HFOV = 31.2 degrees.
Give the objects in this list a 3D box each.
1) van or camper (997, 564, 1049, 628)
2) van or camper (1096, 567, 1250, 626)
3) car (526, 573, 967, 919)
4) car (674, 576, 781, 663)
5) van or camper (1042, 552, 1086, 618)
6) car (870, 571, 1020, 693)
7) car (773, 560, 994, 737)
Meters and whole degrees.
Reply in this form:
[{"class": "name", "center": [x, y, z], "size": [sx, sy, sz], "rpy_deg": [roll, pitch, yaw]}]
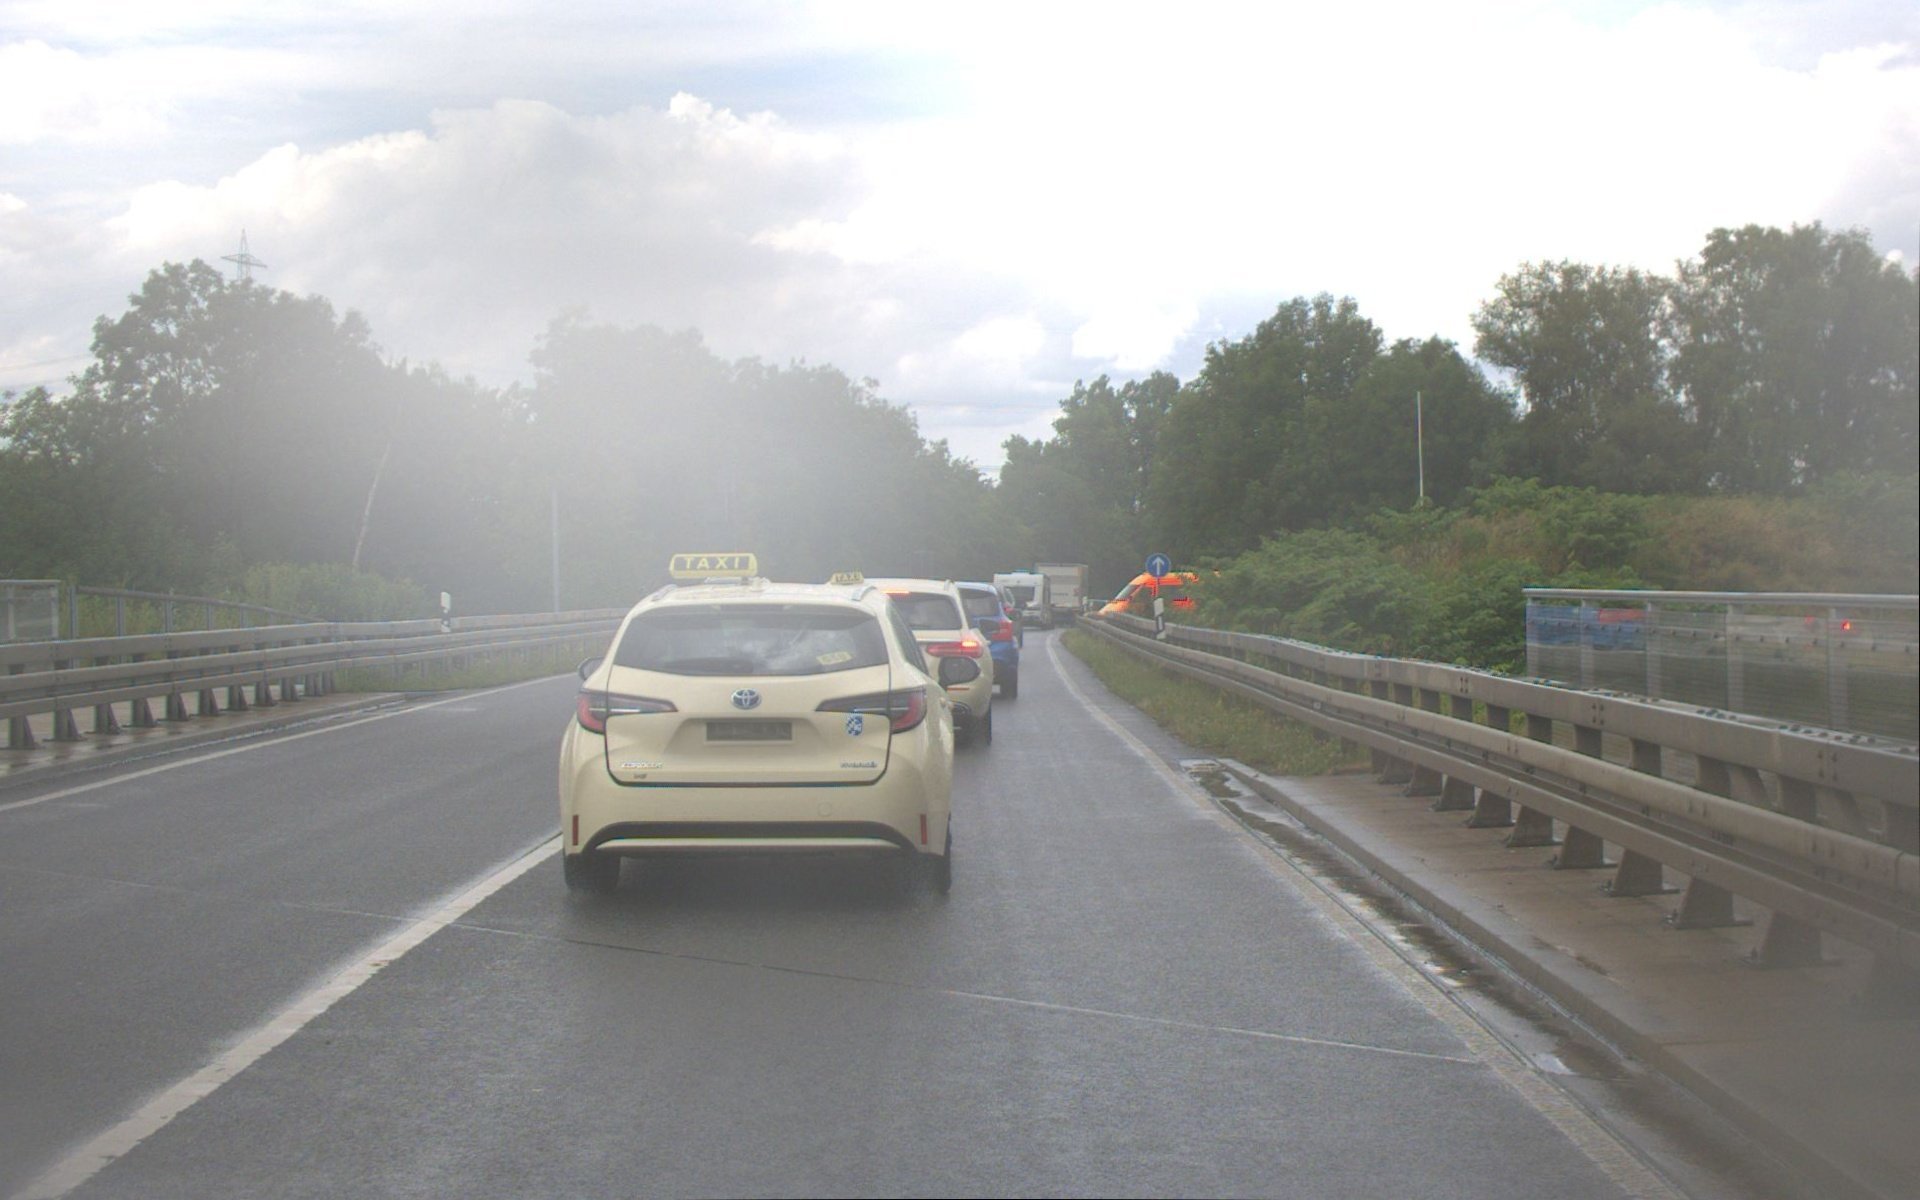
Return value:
[{"class": "van or camper", "center": [2.944, -0.228, 159.341], "size": [2.333, 2.854, 6.306], "rpy_deg": [1, 1, 1]}, {"class": "van or camper", "center": [8.423, -0.151, 136.093], "size": [5.676, 2.234, 2.021], "rpy_deg": [1, 1, -14]}, {"class": "car", "center": [-0.912, 0.607, 16.720], "size": [1.854, 1.389, 4.171], "rpy_deg": [1, 1, 0]}, {"class": "car", "center": [-4.258, 0.362, 63.357], "size": [1.713, 1.511, 3.860], "rpy_deg": [1, -1, 0]}, {"class": "van or camper", "center": [5.722, -0.857, 190.103], "size": [2.333, 3.550, 6.306], "rpy_deg": [1, 1, 1]}, {"class": "car", "center": [-0.194, 0.379, 45.072], "size": [1.854, 1.438, 4.171], "rpy_deg": [1, 1, 0]}, {"class": "car", "center": [-0.654, 0.388, 31.363], "size": [1.854, 1.438, 4.171], "rpy_deg": [1, 1, 0]}]
